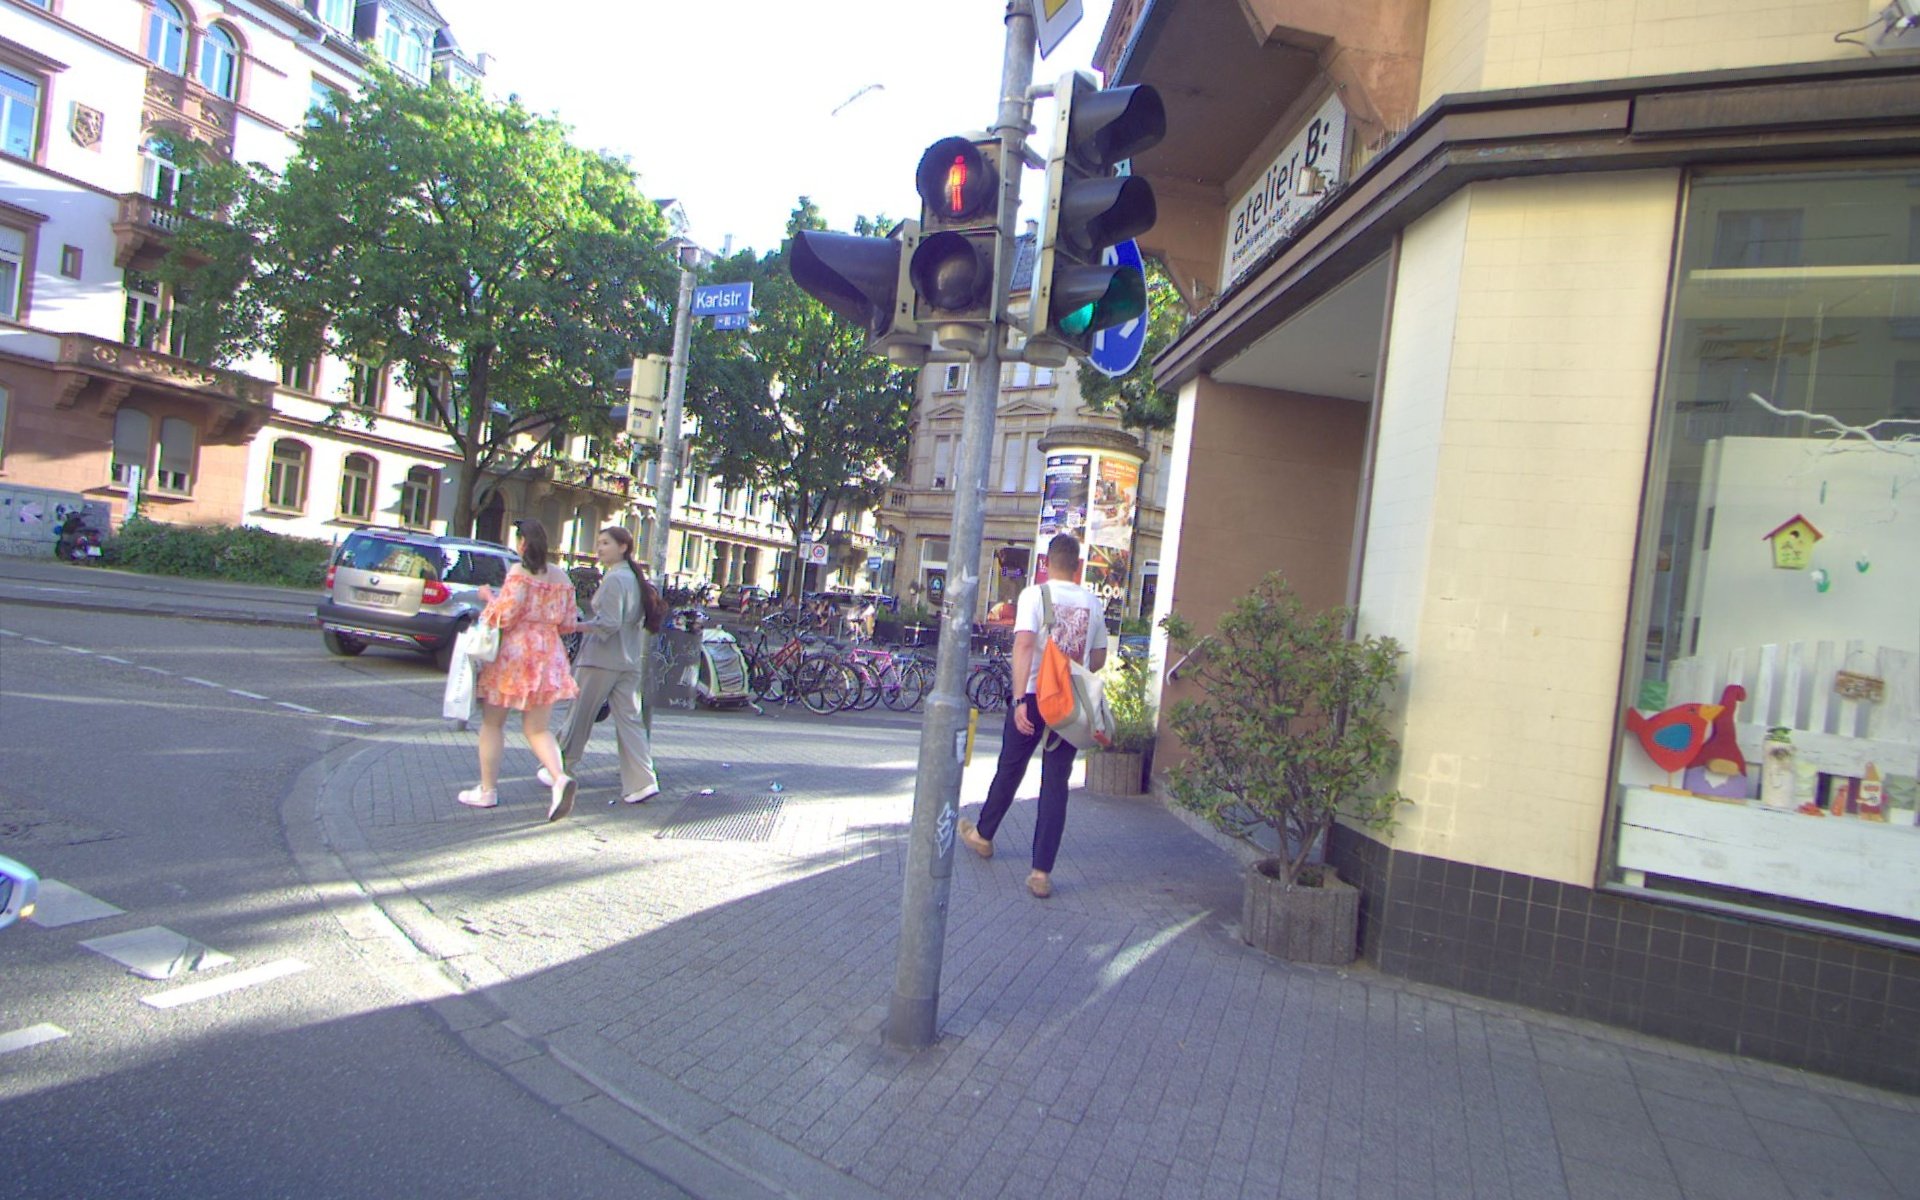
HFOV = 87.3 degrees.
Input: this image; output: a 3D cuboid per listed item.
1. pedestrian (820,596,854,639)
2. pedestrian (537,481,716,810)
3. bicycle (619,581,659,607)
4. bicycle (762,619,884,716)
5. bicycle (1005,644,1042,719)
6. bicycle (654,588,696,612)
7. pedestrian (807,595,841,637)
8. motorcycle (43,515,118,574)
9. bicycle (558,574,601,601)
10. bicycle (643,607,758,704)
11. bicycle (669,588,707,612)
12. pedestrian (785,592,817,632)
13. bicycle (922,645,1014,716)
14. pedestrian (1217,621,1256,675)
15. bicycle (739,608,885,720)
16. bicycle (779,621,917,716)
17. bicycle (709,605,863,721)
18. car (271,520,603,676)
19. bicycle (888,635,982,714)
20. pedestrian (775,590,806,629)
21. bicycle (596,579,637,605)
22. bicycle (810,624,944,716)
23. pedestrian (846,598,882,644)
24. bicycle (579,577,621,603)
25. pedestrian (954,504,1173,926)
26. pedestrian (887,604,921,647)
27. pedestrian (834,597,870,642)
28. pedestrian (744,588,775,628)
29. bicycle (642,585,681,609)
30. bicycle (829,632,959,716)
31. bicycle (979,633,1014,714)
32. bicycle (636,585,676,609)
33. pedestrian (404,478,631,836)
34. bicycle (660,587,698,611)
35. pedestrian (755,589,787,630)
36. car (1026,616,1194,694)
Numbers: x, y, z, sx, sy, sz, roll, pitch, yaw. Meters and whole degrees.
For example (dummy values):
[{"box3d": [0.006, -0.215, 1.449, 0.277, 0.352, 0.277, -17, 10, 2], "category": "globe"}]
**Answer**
[{"box3d": [-4.324, 0.616, 35.341, 0.905, 1.448, 0.759, 2, 3, -32], "category": "pedestrian"}, {"box3d": [-2.105, 0.271, 6.401, 0.658, 1.933, 0.692, 5, 1, 23], "category": "pedestrian"}, {"box3d": [-14.146, -0.266, 44.377, 1.766, 0.904, 0.493, 7, 1, 26], "category": "bicycle"}, {"box3d": [-1.856, 0.887, 13.553, 1.583, 1.125, 0.450, 5, 0, 28], "category": "bicycle"}, {"box3d": [1.024, 1.304, 16.411, 0.442, 1.099, 1.405, 5, -1, 1], "category": "bicycle"}, {"box3d": [-12.707, 0.005, 44.942, 0.486, 0.904, 1.790, 7, 0, 38], "category": "bicycle"}, {"box3d": [-4.902, 0.568, 36.189, 0.905, 1.448, 0.758, 2, 3, -34], "category": "pedestrian"}, {"box3d": [-19.968, -1.264, 22.823, 2.250, 1.033, 0.719, 9, 2, 36], "category": "motorcycle"}, {"box3d": [-15.600, -0.508, 41.254, 1.766, 0.904, 0.493, 7, 1, 26], "category": "bicycle"}, {"box3d": [-3.152, 0.670, 12.236, 1.046, 1.057, 0.778, 5, -1, 34], "category": "bicycle"}, {"box3d": [-12.895, 0.003, 47.650, 1.766, 0.904, 0.493, 7, 1, 26], "category": "bicycle"}, {"box3d": [-6.023, 0.457, 38.089, 0.905, 1.448, 0.759, 2, 3, -32], "category": "pedestrian"}, {"box3d": [0.120, 1.257, 15.935, 1.383, 0.961, 0.449, 5, 0, 36], "category": "bicycle"}, {"box3d": [9.455, 1.636, 34.414, 0.756, 1.759, 0.908, 2, 3, -29], "category": "pedestrian"}, {"box3d": [-1.933, 0.808, 13.018, 1.887, 1.238, 0.450, 5, 0, 28], "category": "bicycle"}, {"box3d": [-1.575, 0.936, 13.987, 1.887, 1.112, 0.450, 5, 0, 28], "category": "bicycle"}, {"box3d": [-2.190, 0.767, 12.566, 1.887, 1.238, 0.505, 5, 0, 28], "category": "bicycle"}, {"box3d": [-6.856, 0.021, 13.777, 1.962, 1.638, 4.002, 6, -1, 8], "category": "car"}, {"box3d": [-0.401, 1.137, 15.520, 1.383, 1.055, 0.449, 5, 0, 36], "category": "bicycle"}, {"box3d": [-6.579, 0.368, 39.091, 0.905, 1.448, 0.758, 2, 3, -34], "category": "pedestrian"}, {"box3d": [-14.677, -0.361, 42.959, 1.766, 0.904, 0.493, 7, 1, 26], "category": "bicycle"}, {"box3d": [-1.211, 0.989, 14.462, 1.887, 1.112, 0.450, 5, 0, 28], "category": "bicycle"}, {"box3d": [-3.225, 0.707, 33.772, 0.905, 1.448, 0.759, 2, 3, -32], "category": "pedestrian"}, {"box3d": [-15.102, -0.429, 42.183, 1.766, 0.904, 0.493, 7, 1, 26], "category": "bicycle"}, {"box3d": [0.494, 0.496, 5.033, 0.792, 1.826, 1.090, 6, 4, 4], "category": "pedestrian"}, {"box3d": [-2.004, 0.896, 35.746, 0.757, 1.448, 0.906, 2, 3, -35], "category": "pedestrian"}, {"box3d": [-3.686, 0.667, 34.358, 0.905, 1.448, 0.758, 2, 3, -34], "category": "pedestrian"}, {"box3d": [-7.664, 0.297, 38.431, 0.905, 1.448, 0.758, 2, 3, -34], "category": "pedestrian"}, {"box3d": [-13.643, -0.123, 45.940, 1.766, 0.904, 0.493, 7, 1, 26], "category": "bicycle"}, {"box3d": [-0.990, 1.075, 14.874, 1.887, 1.012, 0.450, 5, 0, 28], "category": "bicycle"}, {"box3d": [0.590, 1.189, 16.683, 0.442, 1.238, 1.405, 5, -1, 1], "category": "bicycle"}, {"box3d": [-13.666, -0.139, 45.197, 1.766, 0.904, 0.493, 7, 1, 26], "category": "bicycle"}, {"box3d": [-2.501, 0.282, 5.719, 0.748, 1.826, 0.805, 8, 5, 26], "category": "pedestrian"}, {"box3d": [-13.140, -0.039, 47.038, 1.766, 0.904, 0.493, 7, 1, 26], "category": "bicycle"}, {"box3d": [-7.069, 0.347, 37.593, 0.905, 1.448, 0.759, 2, 3, -32], "category": "pedestrian"}, {"box3d": [3.988, 1.463, 26.736, 3.949, 1.593, 1.793, 7, 0, -25], "category": "car"}]
